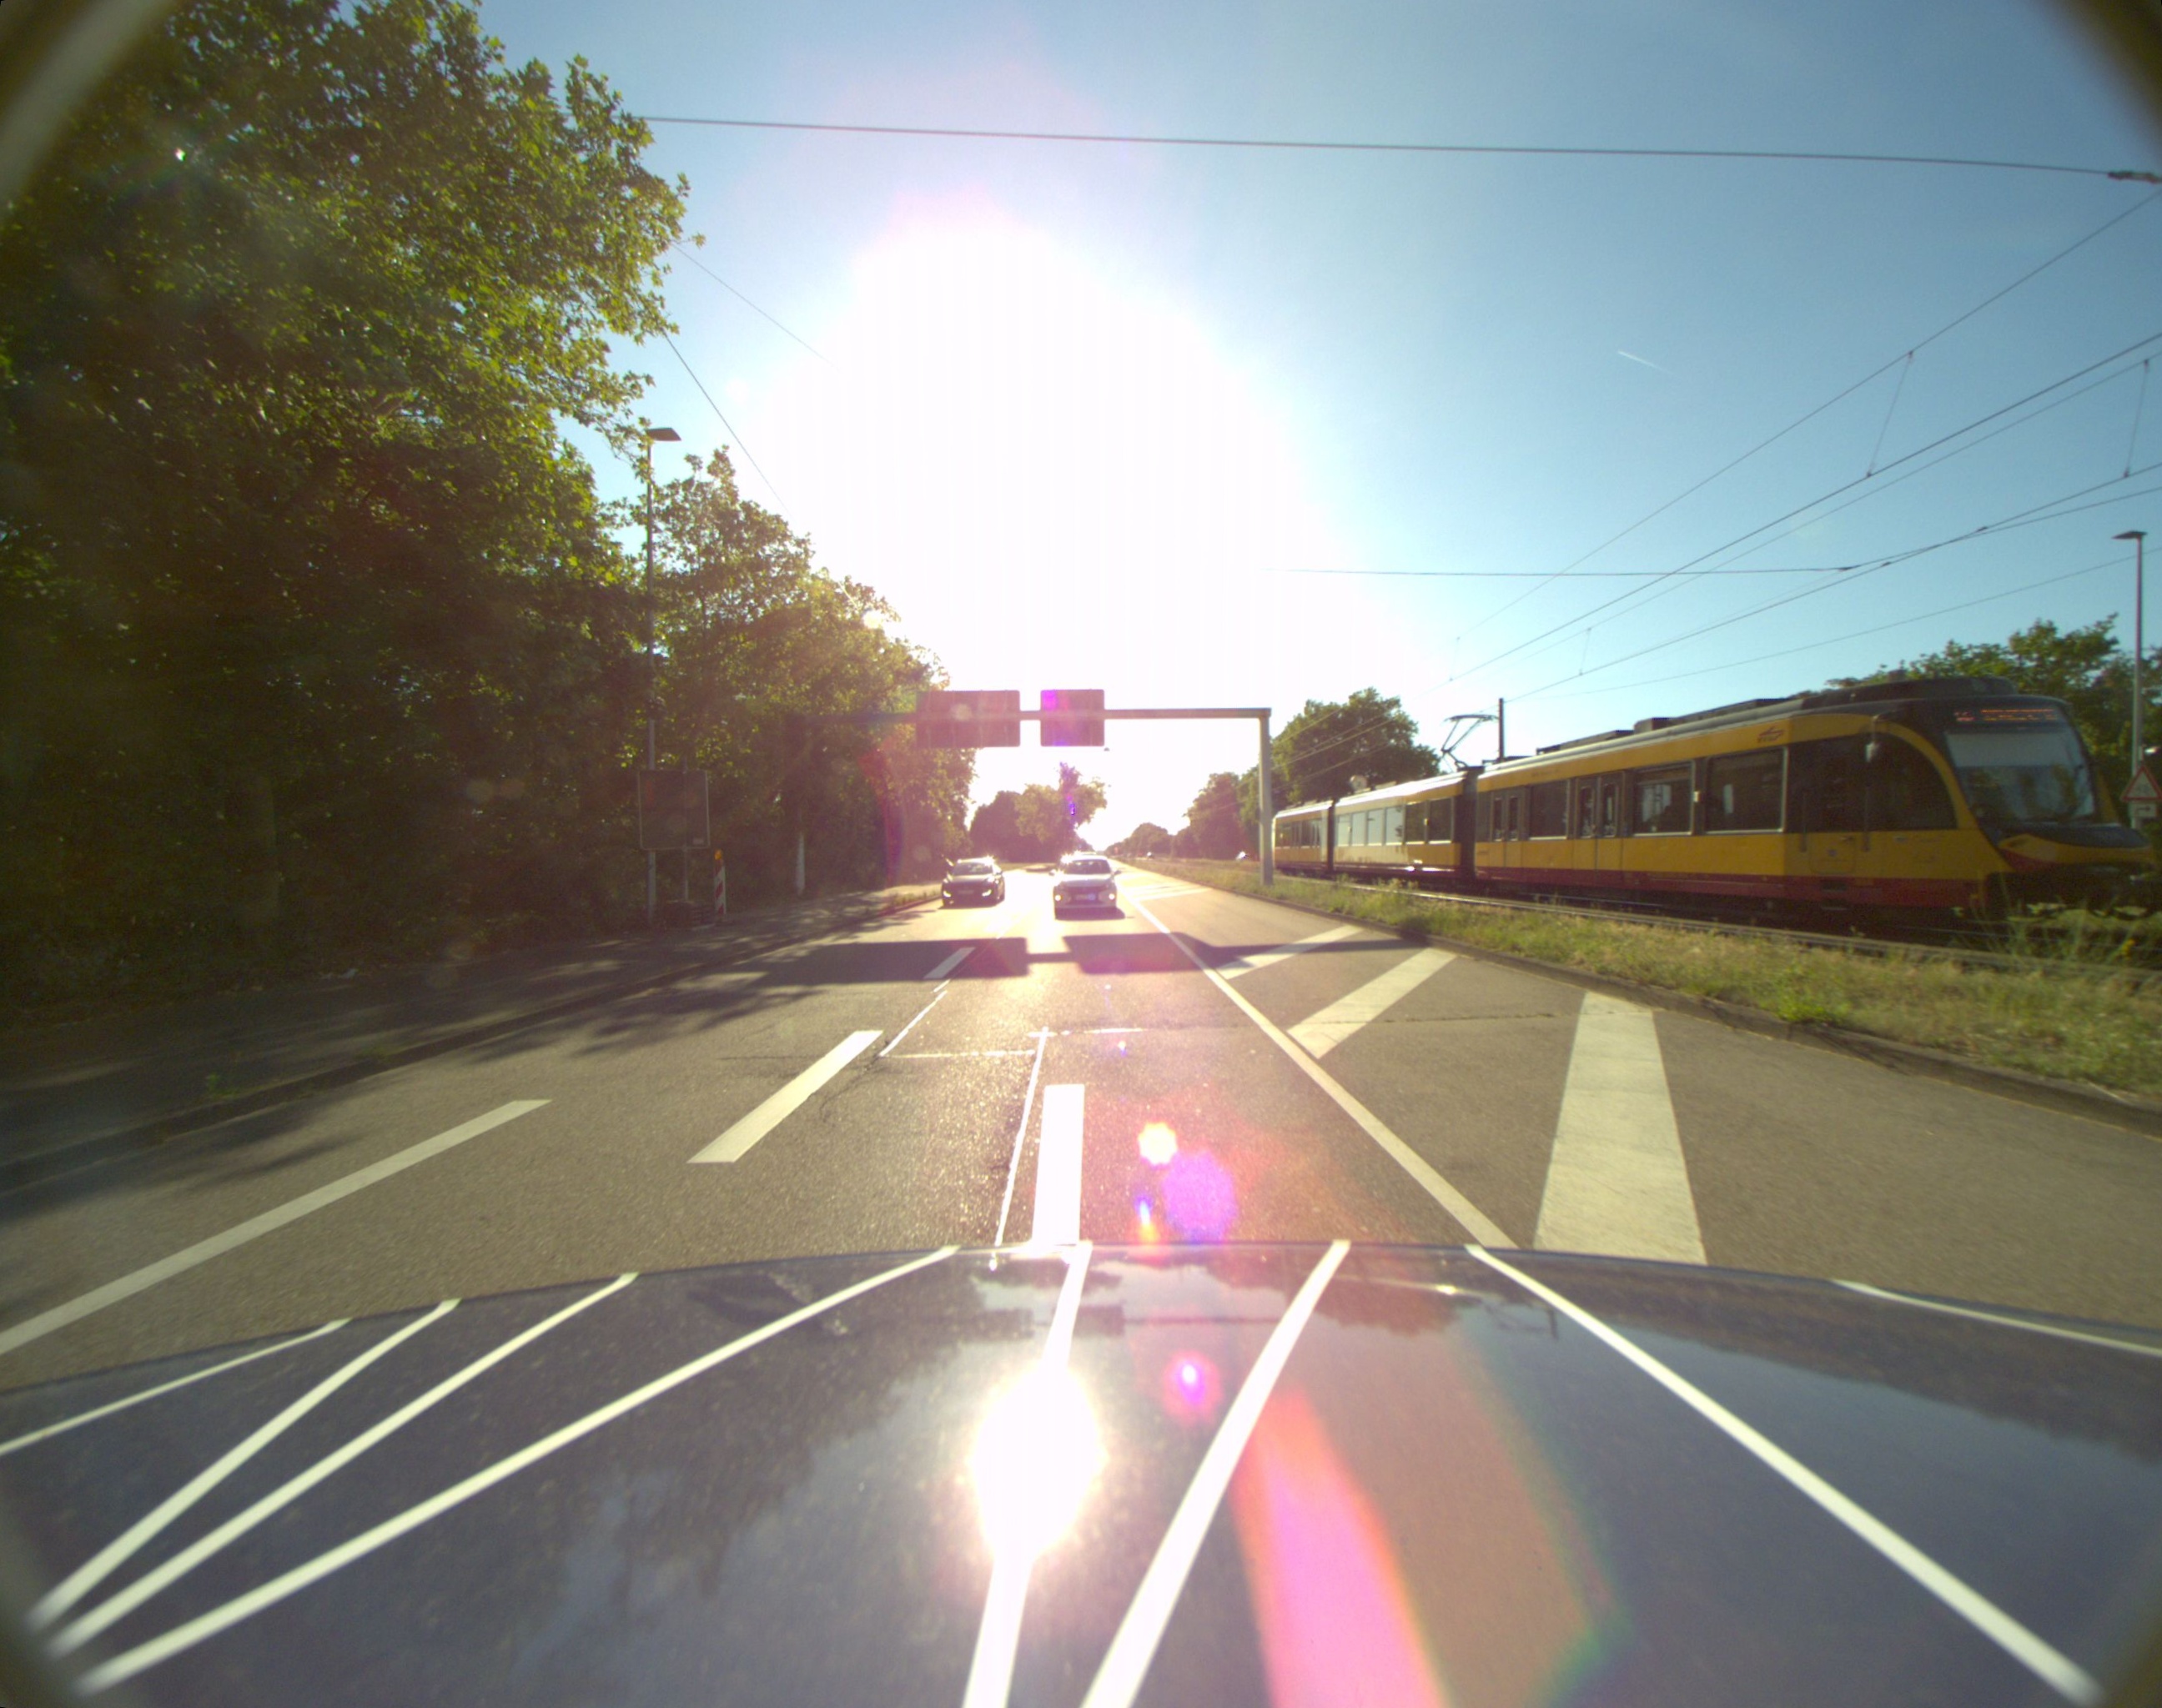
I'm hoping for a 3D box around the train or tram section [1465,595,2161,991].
[{"bbox_3d":[12.170,-0.648,14.353,2.891,3.924,13.659,-1,0,0],"label":"train or tram section"}]

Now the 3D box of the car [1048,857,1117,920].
[{"bbox_3d":[0.064,0.869,20.677,1.671,1.465,3.744,-1,1,1],"label":"car"}]

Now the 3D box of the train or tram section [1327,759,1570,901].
[{"bbox_3d":[12.197,-0.687,27.181,2.891,3.924,11.911,-1,0,0],"label":"train or tram section"}]

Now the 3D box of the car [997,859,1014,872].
[{"bbox_3d":[-9.008,1.359,90.877,1.744,1.455,3.999,-1,0,-1],"label":"car"}]

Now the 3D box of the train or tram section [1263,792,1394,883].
[{"bbox_3d":[12.224,-0.722,38.993,2.891,3.924,11.664,-1,0,0],"label":"train or tram section"}]

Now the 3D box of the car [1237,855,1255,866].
[{"bbox_3d":[23.639,0.938,108.805,1.762,1.508,3.999,-2,1,1],"label":"car"}]

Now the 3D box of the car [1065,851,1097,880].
[{"bbox_3d":[0.022,0.653,46.698,1.824,1.608,3.999,-2,1,1],"label":"car"}]

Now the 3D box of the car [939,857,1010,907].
[{"bbox_3d":[-3.578,0.894,26.142,1.786,1.530,4.000,-1,0,1],"label":"car"}]
